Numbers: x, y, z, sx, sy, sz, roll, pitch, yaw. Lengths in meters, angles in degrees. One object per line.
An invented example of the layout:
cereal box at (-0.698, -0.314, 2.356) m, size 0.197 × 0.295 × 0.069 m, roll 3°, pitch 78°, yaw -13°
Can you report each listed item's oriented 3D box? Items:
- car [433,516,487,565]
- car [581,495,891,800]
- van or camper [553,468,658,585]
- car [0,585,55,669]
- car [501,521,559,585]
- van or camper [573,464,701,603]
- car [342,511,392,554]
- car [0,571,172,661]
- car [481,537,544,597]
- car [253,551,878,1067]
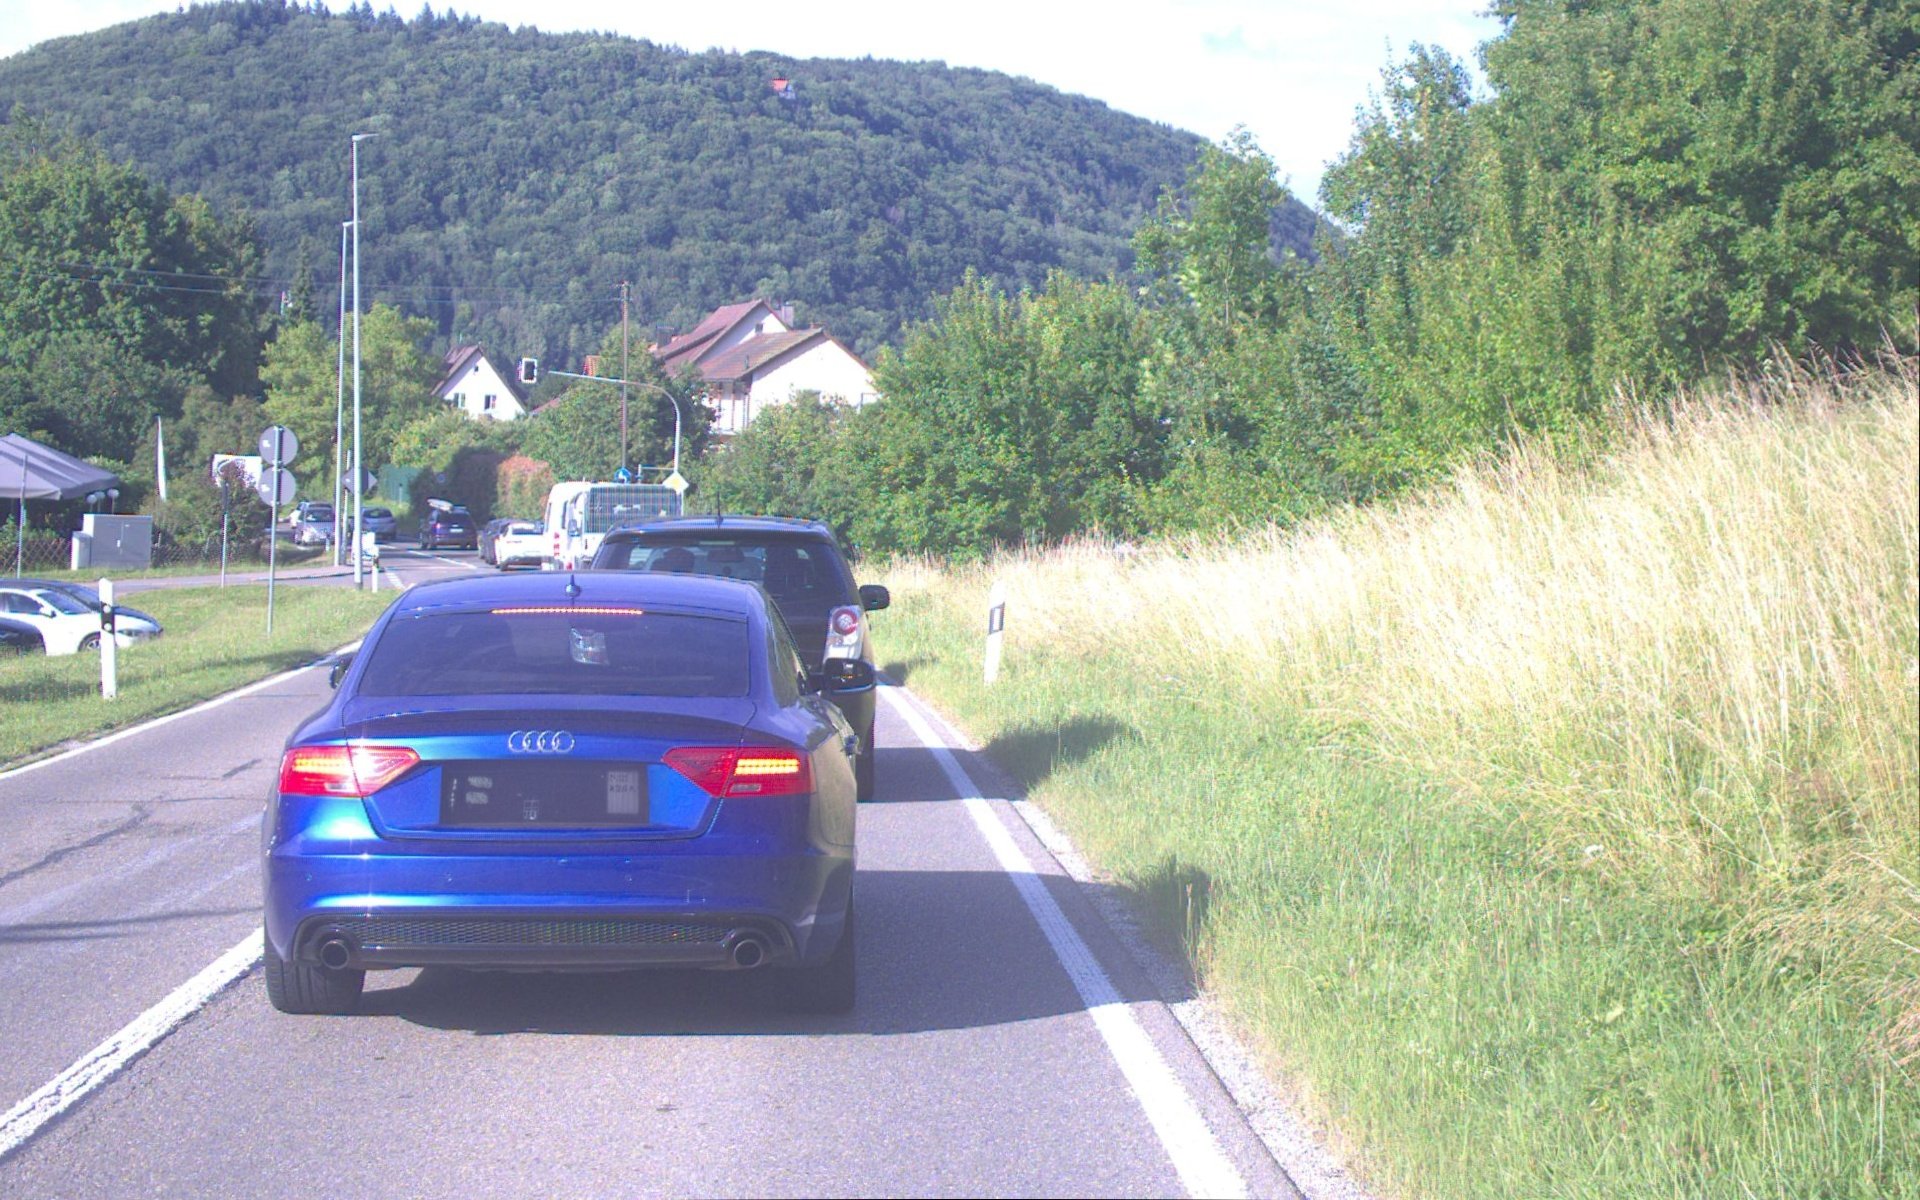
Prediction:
car at (-20.096, -2.382, 138.159) m, size 1.676 × 1.918 × 4.001 m, roll -1°, pitch 1°, yaw -15°
car at (-1.328, 0.233, 20.491) m, size 1.645 × 1.619 × 3.517 m, roll 2°, pitch 1°, yaw -4°
van or camper at (-8.556, -1.733, 82.525) m, size 2.280 × 2.704 × 5.769 m, roll -1°, pitch 1°, yaw -8°
car at (-18.057, 0.481, 60.676) m, size 3.713 × 1.434 × 1.509 m, roll -1°, pitch 1°, yaw 9°
car at (-13.256, -1.441, 105.871) m, size 1.659 × 1.918 × 4.001 m, roll -1°, pitch 1°, yaw -9°
van or camper at (-6.131, -1.230, 64.747) m, size 2.051 × 2.497 × 5.813 m, roll -1°, pitch 1°, yaw -9°
car at (-26.947, -3.049, 156.243) m, size 1.676 × 1.918 × 4.001 m, roll -1°, pitch 1°, yaw -18°
car at (-17.160, 0.303, 65.086) m, size 4.037 × 1.655 × 1.655 m, roll -1°, pitch 1°, yaw 9°
car at (-14.760, -1.098, 113.360) m, size 1.659 × 1.918 × 4.001 m, roll -1°, pitch 1°, yaw -13°
car at (-1.238, 0.574, 11.511) m, size 1.742 × 1.445 × 3.517 m, roll 1°, pitch 1°, yaw -4°
